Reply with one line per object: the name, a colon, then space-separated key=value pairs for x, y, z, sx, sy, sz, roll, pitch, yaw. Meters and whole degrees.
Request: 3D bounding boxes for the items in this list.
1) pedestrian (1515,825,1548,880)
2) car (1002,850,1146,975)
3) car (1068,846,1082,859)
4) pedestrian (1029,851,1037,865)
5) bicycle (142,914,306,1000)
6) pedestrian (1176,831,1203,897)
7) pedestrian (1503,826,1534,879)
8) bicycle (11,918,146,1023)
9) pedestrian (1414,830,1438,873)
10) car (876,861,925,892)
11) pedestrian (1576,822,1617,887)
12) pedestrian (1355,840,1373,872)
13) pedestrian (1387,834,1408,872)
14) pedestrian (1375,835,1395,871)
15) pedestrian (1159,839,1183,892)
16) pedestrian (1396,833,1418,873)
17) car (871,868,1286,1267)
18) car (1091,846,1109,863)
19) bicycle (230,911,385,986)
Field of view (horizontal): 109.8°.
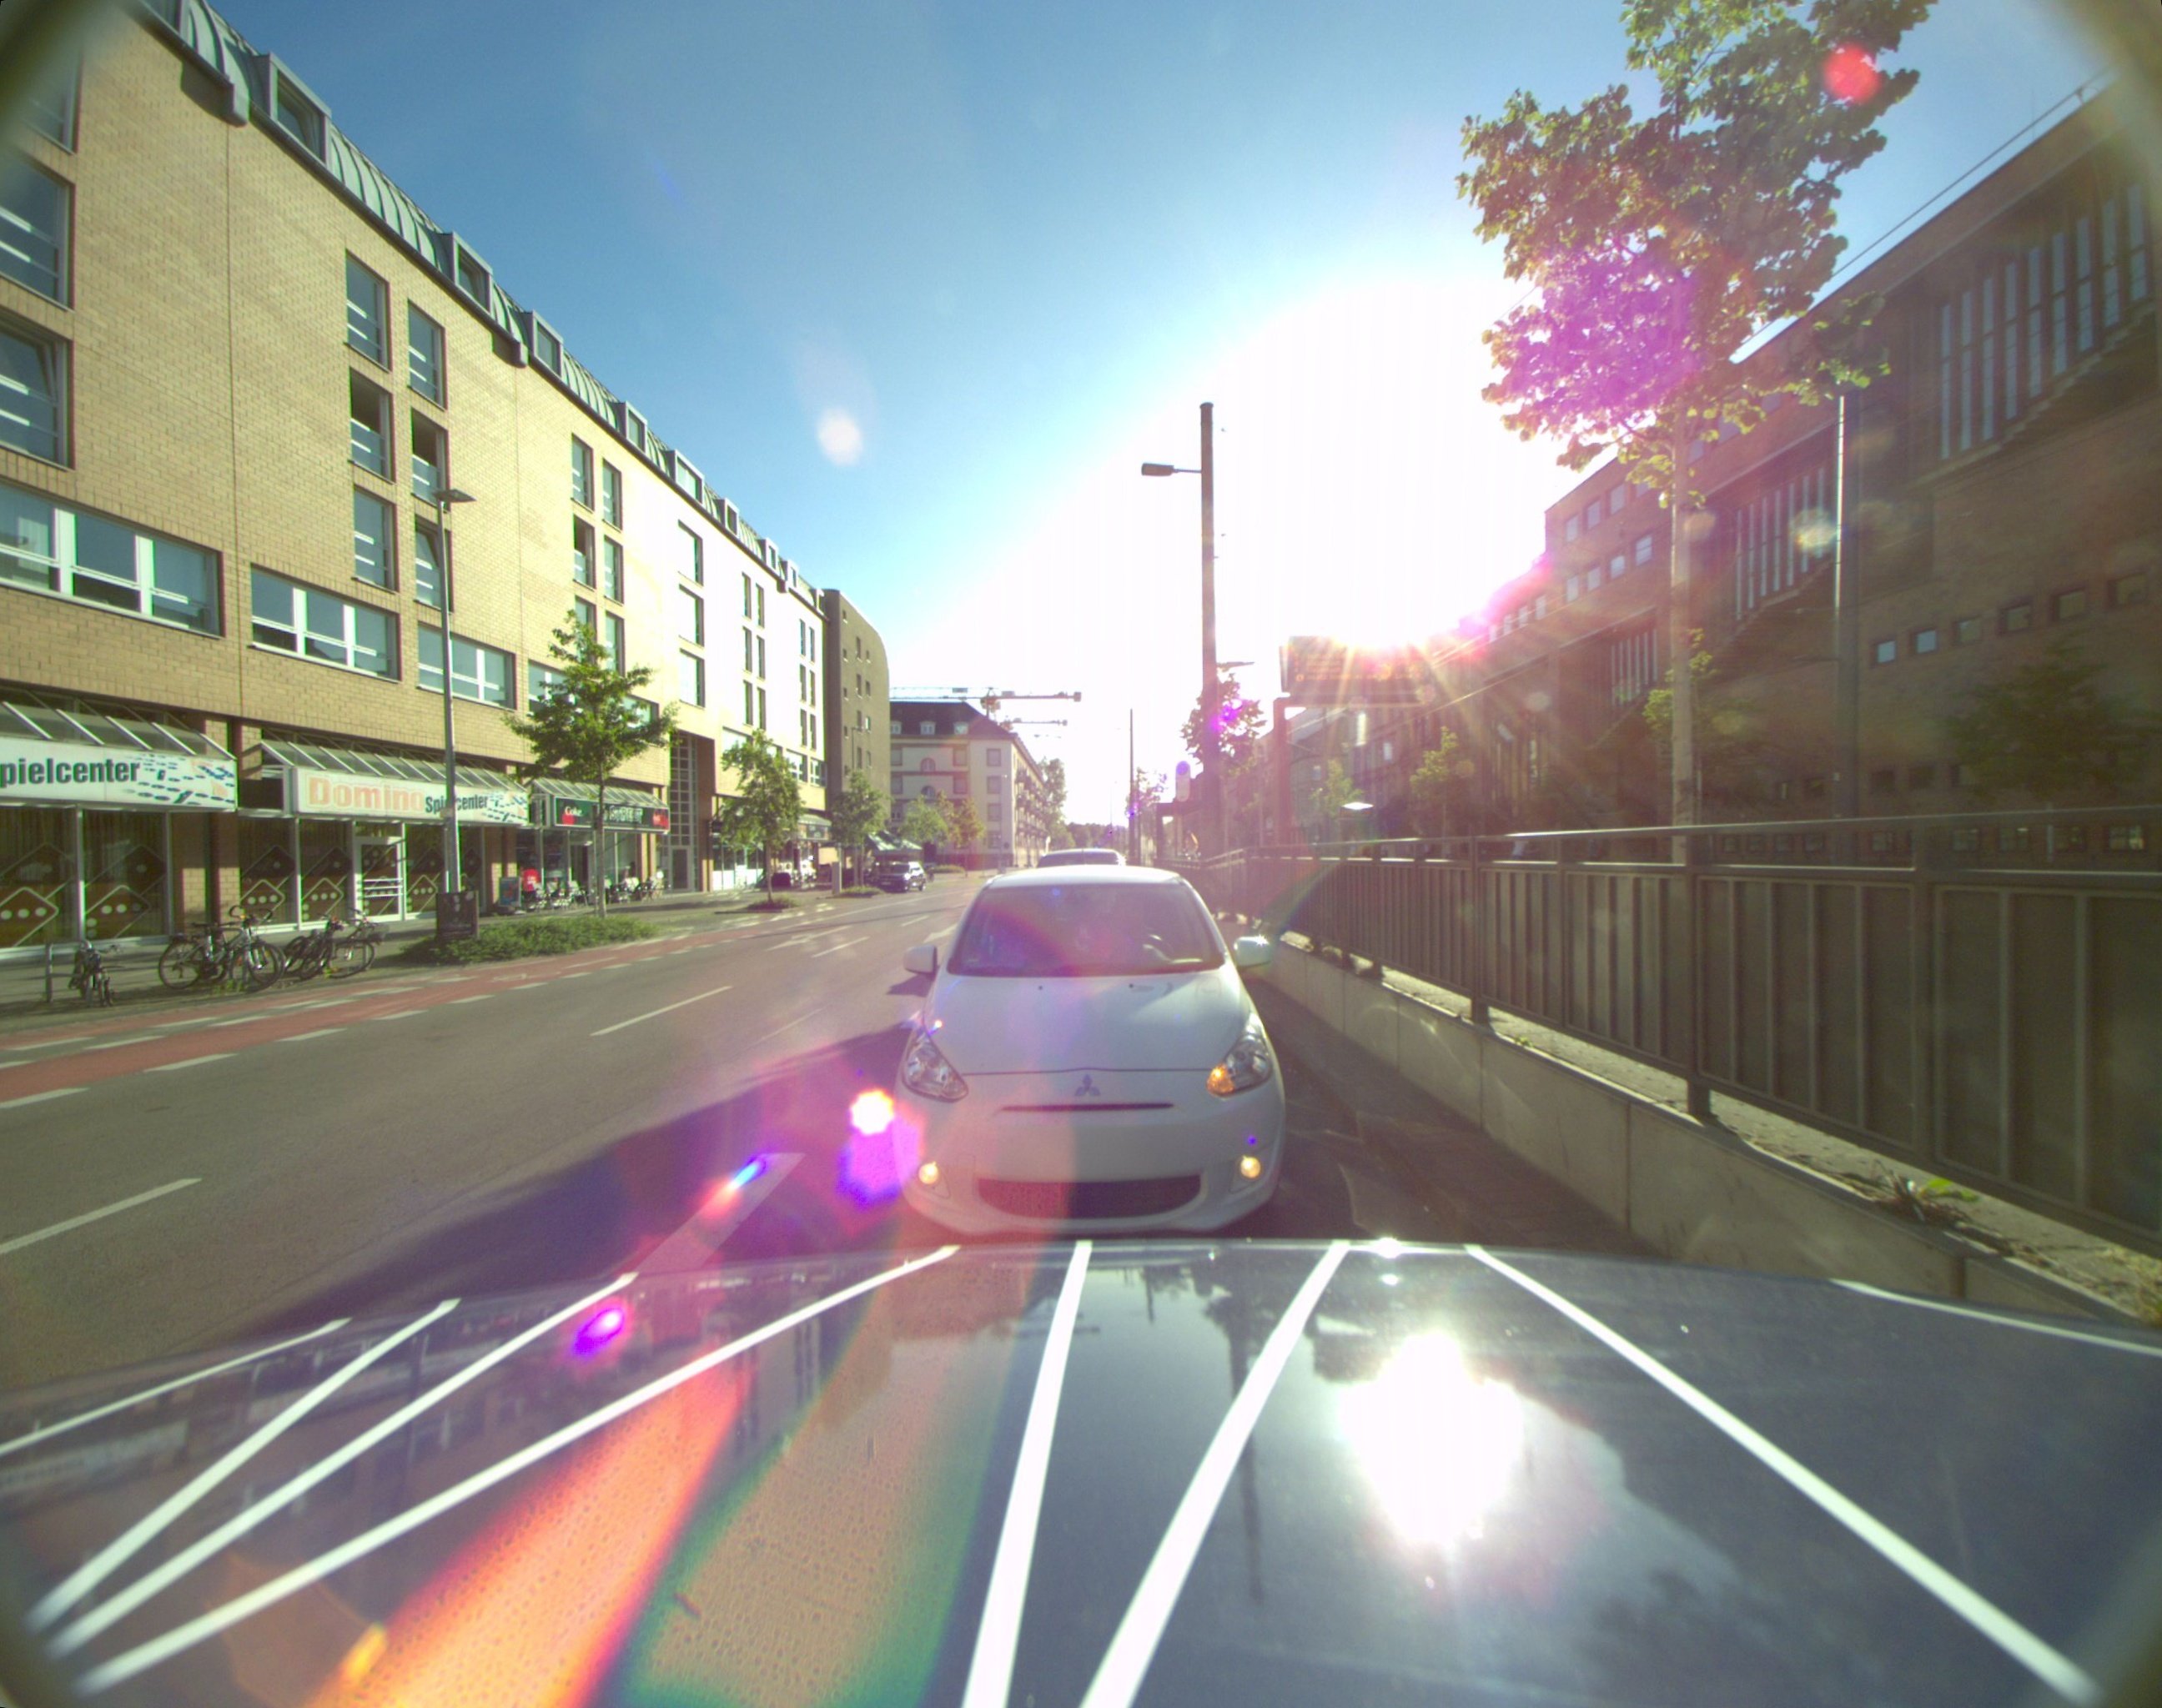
pedestrian: x=14.454 y=-0.042 z=24.381 sx=0.692 sy=1.732 sz=0.586 roll=-1 pitch=1 yaw=-2
car: x=-0.069 y=0.812 z=12.789 sx=1.955 sy=1.652 sz=4.355 roll=-2 pitch=1 yaw=1
car: x=-0.761 y=-0.163 z=96.533 sx=1.829 sy=1.644 sz=3.682 roll=-1 pitch=0 yaw=-1
pedestrian: x=-5.506 y=0.450 z=86.880 sx=0.804 sy=1.656 sz=0.891 roll=-1 pitch=1 yaw=-6
bicycle: x=-12.354 y=1.471 z=10.977 sx=1.774 sy=1.135 sz=0.553 roll=0 pitch=2 yaw=3
pedestrian: x=3.358 y=0.308 z=23.491 sx=0.783 sy=2.002 sz=0.881 roll=-1 pitch=1 yaw=10
pedestrian: x=14.441 y=-0.049 z=25.079 sx=0.692 sy=1.732 sz=0.586 roll=-1 pitch=1 yaw=-2
bicycle: x=-12.822 y=1.452 z=9.714 sx=1.771 sy=1.142 sz=0.554 roll=1 pitch=2 yaw=21
pedestrian: x=14.022 y=-0.098 z=30.929 sx=0.692 sy=1.732 sz=0.586 roll=-1 pitch=1 yaw=-2
car: x=-9.805 y=1.186 z=41.614 sx=1.655 sy=1.521 sz=3.693 roll=-2 pitch=1 yaw=1
pedestrian: x=13.935 y=0.021 z=20.555 sx=0.692 sy=1.732 sz=0.586 roll=-1 pitch=1 yaw=-2
pedestrian: x=14.428 y=0.099 z=38.703 sx=0.692 sy=1.566 sz=0.586 roll=-1 pitch=1 yaw=-2
pedestrian: x=14.476 y=-0.033 z=34.769 sx=0.692 sy=1.732 sz=0.586 roll=-1 pitch=1 yaw=-2
pedestrian: x=14.440 y=-0.046 z=36.113 sx=0.692 sy=1.732 sz=0.586 roll=-1 pitch=1 yaw=-2
pedestrian: x=3.463 y=0.446 z=29.319 sx=0.784 sy=2.002 sz=0.880 roll=-1 pitch=1 yaw=-2
pedestrian: x=14.347 y=-0.055 z=33.449 sx=0.692 sy=1.732 sz=0.586 roll=-1 pitch=1 yaw=-2
car: x=0.021 y=0.916 z=5.194 sx=1.640 sy=1.458 sz=4.186 roll=-2 pitch=1 yaw=1
car: x=2.189 y=0.051 z=86.739 sx=1.998 sy=1.958 sz=4.000 roll=-1 pitch=0 yaw=1
bicycle: x=-12.392 y=1.500 z=12.208 sx=1.774 sy=1.065 sz=0.737 roll=0 pitch=2 yaw=3
